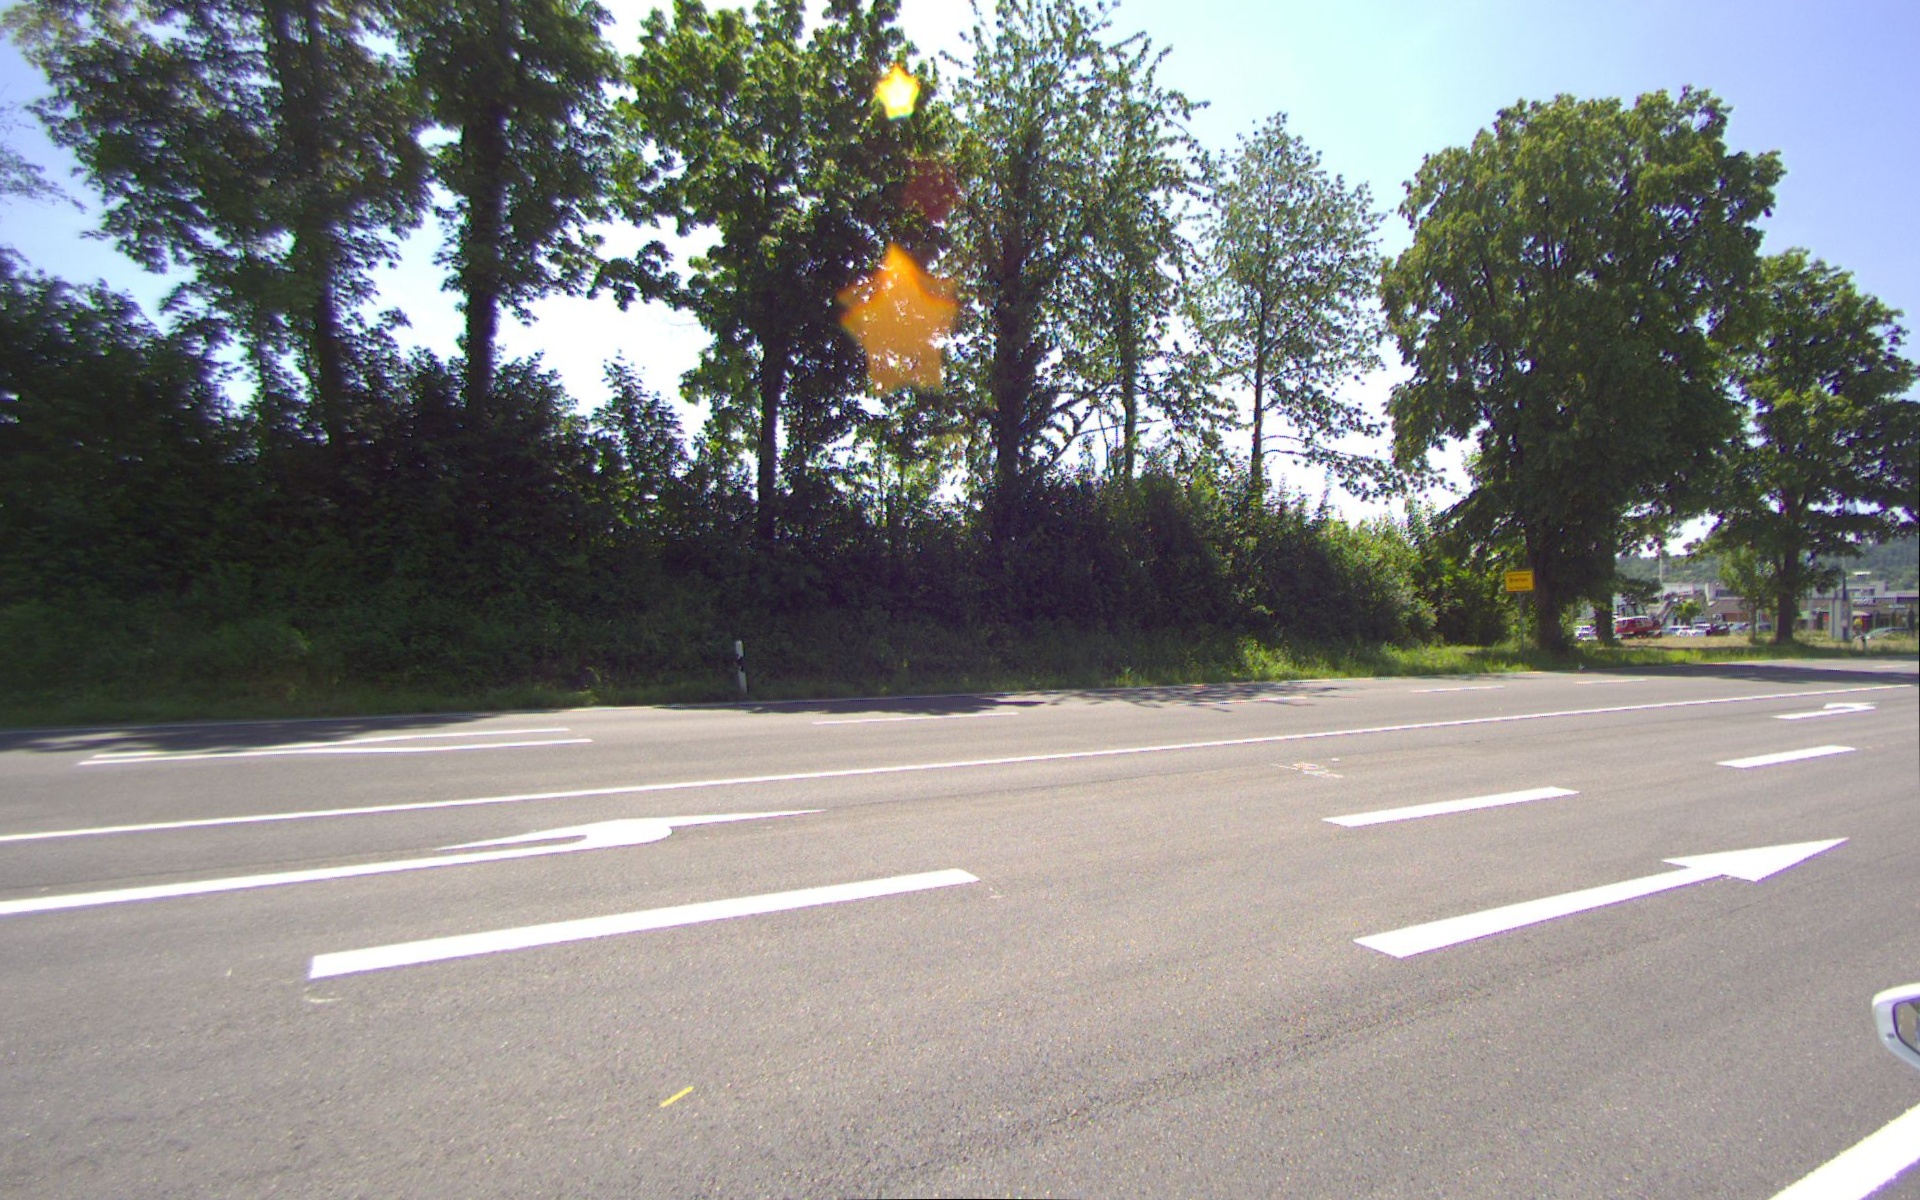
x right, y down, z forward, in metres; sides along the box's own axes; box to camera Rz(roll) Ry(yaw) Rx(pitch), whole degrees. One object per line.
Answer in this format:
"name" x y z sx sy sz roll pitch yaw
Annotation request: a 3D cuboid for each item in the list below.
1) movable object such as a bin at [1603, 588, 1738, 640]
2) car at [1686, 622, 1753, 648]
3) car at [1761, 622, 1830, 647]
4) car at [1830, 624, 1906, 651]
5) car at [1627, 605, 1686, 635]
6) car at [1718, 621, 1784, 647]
"movable object such as a bin" 47.033 0.879 66.655 6.654 3.342 3.054 0 0 10
"car" 53.449 2.425 70.796 1.959 1.673 4.002 1 0 7
"car" 58.325 2.391 70.241 1.803 1.639 4.002 1 0 7
"car" 61.275 2.498 67.861 1.803 1.639 4.002 1 0 7
"car" 49.739 1.425 71.811 1.959 2.040 4.002 1 0 10
"car" 55.650 2.370 70.752 1.803 1.639 4.002 1 0 7
